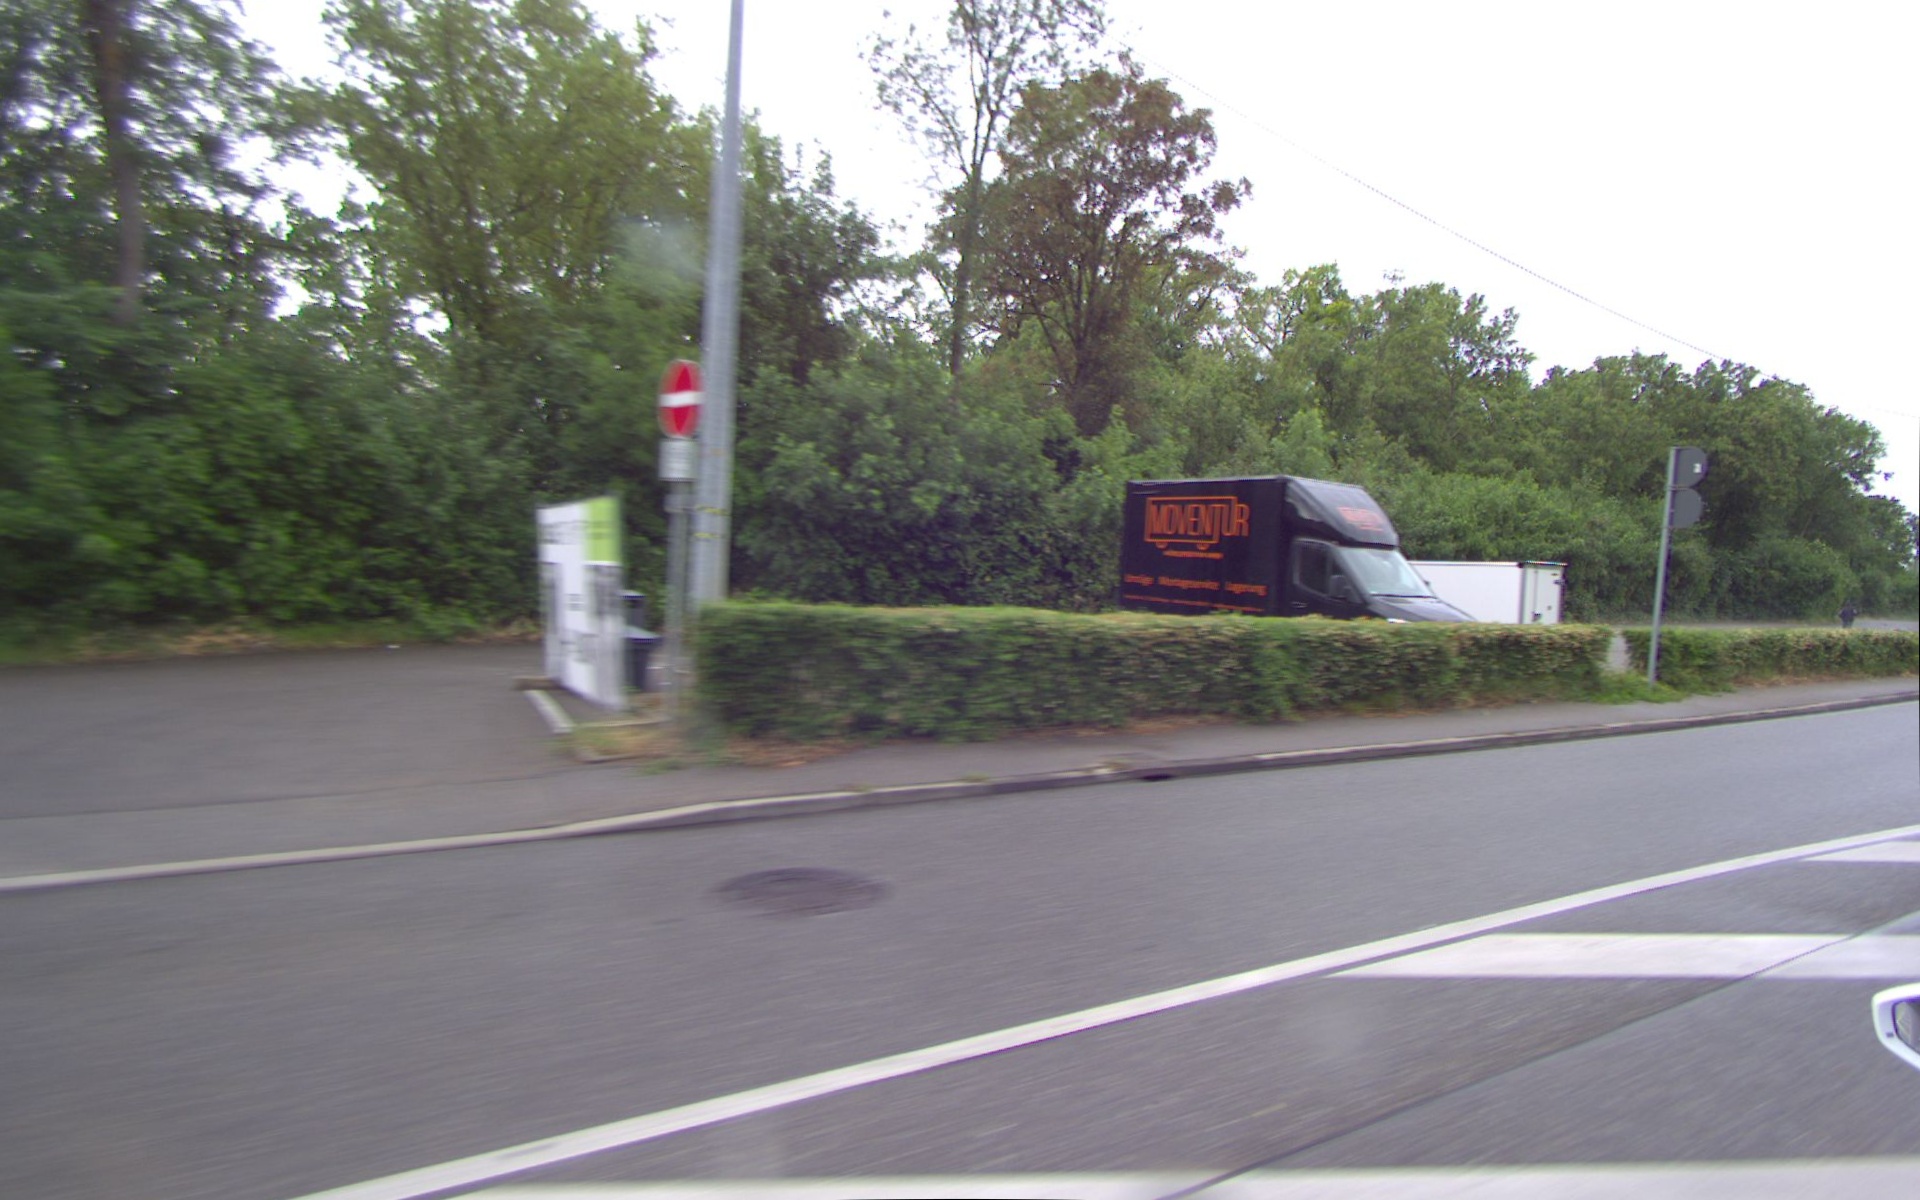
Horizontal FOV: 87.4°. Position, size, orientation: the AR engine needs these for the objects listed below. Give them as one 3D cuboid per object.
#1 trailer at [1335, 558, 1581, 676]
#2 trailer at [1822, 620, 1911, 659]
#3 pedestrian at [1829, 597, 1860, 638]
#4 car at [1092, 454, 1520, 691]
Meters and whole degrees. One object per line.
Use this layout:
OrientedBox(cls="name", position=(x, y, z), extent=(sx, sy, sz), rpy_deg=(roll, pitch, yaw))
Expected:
OrientedBox(cls="trailer", position=(9.742, 0.265, 19.947), extent=(1.853, 2.080, 3.964), rpy_deg=(1, 1, -32))
OrientedBox(cls="trailer", position=(27.356, 1.169, 30.333), extent=(1.322, 1.048, 1.786), rpy_deg=(1, 2, -39))
OrientedBox(cls="pedestrian", position=(40.125, 0.778, 45.566), extent=(1.126, 1.822, 0.810), rpy_deg=(1, 2, -39))
OrientedBox(cls="car", position=(5.402, -0.443, 16.759), extent=(2.725, 3.155, 6.229), rpy_deg=(2, 1, -35))
